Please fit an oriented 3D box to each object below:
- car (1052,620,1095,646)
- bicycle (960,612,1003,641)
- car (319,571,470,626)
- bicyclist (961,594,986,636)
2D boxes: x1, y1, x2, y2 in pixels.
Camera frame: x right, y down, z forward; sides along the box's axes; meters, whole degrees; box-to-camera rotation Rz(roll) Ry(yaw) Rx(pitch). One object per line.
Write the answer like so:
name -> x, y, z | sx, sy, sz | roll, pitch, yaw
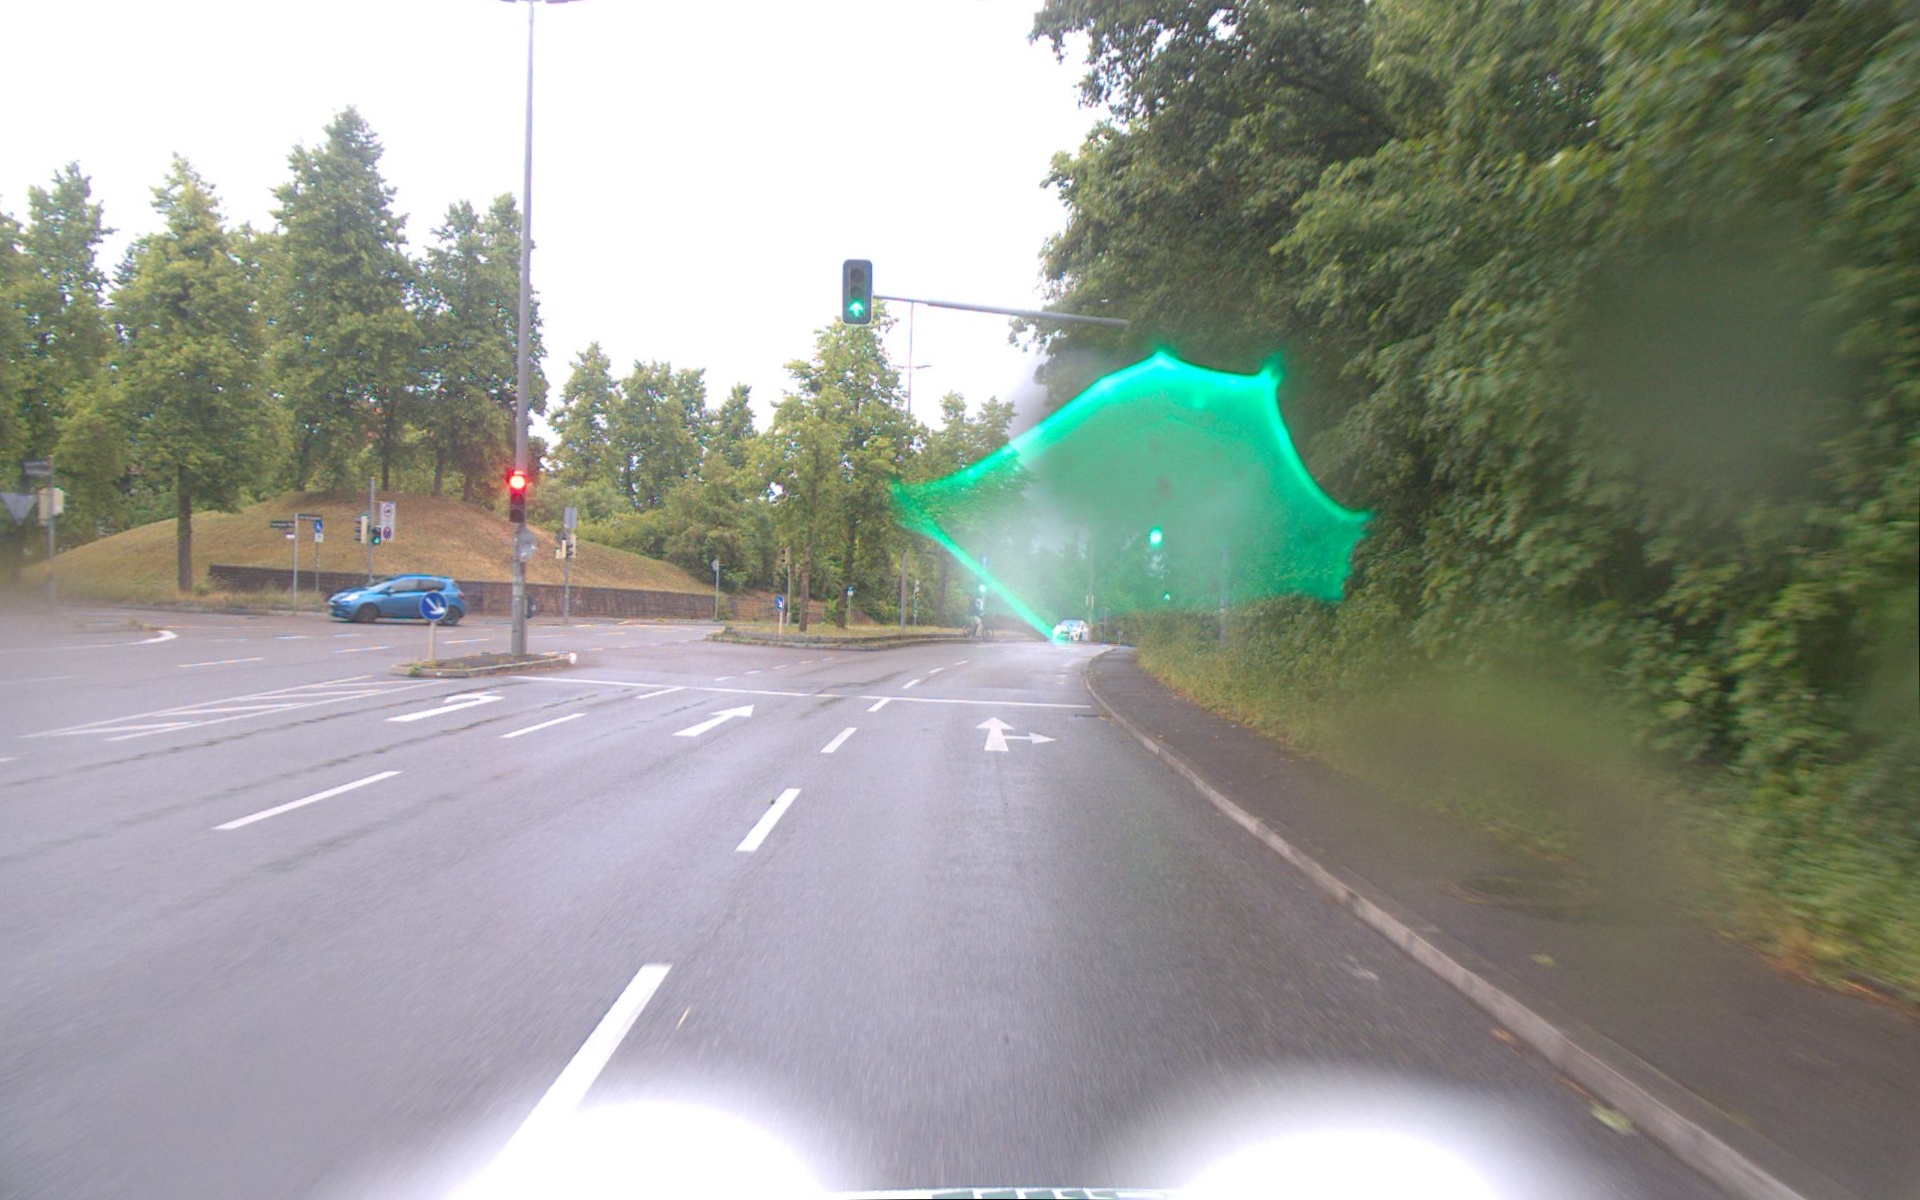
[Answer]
car -> 8.166, 2.357, 118.807 | 1.904, 1.664, 5.007 | 3, -2, 17
bicycle -> 0.952, 1.168, 73.156 | 2.123, 1.163, 0.545 | 4, -1, -44
car -> -17.199, -0.036, 50.343 | 3.899, 1.516, 1.972 | 1, 1, -40
bicyclist -> 0.612, 0.679, 73.168 | 0.795, 1.783, 0.713 | 5, -5, -44
